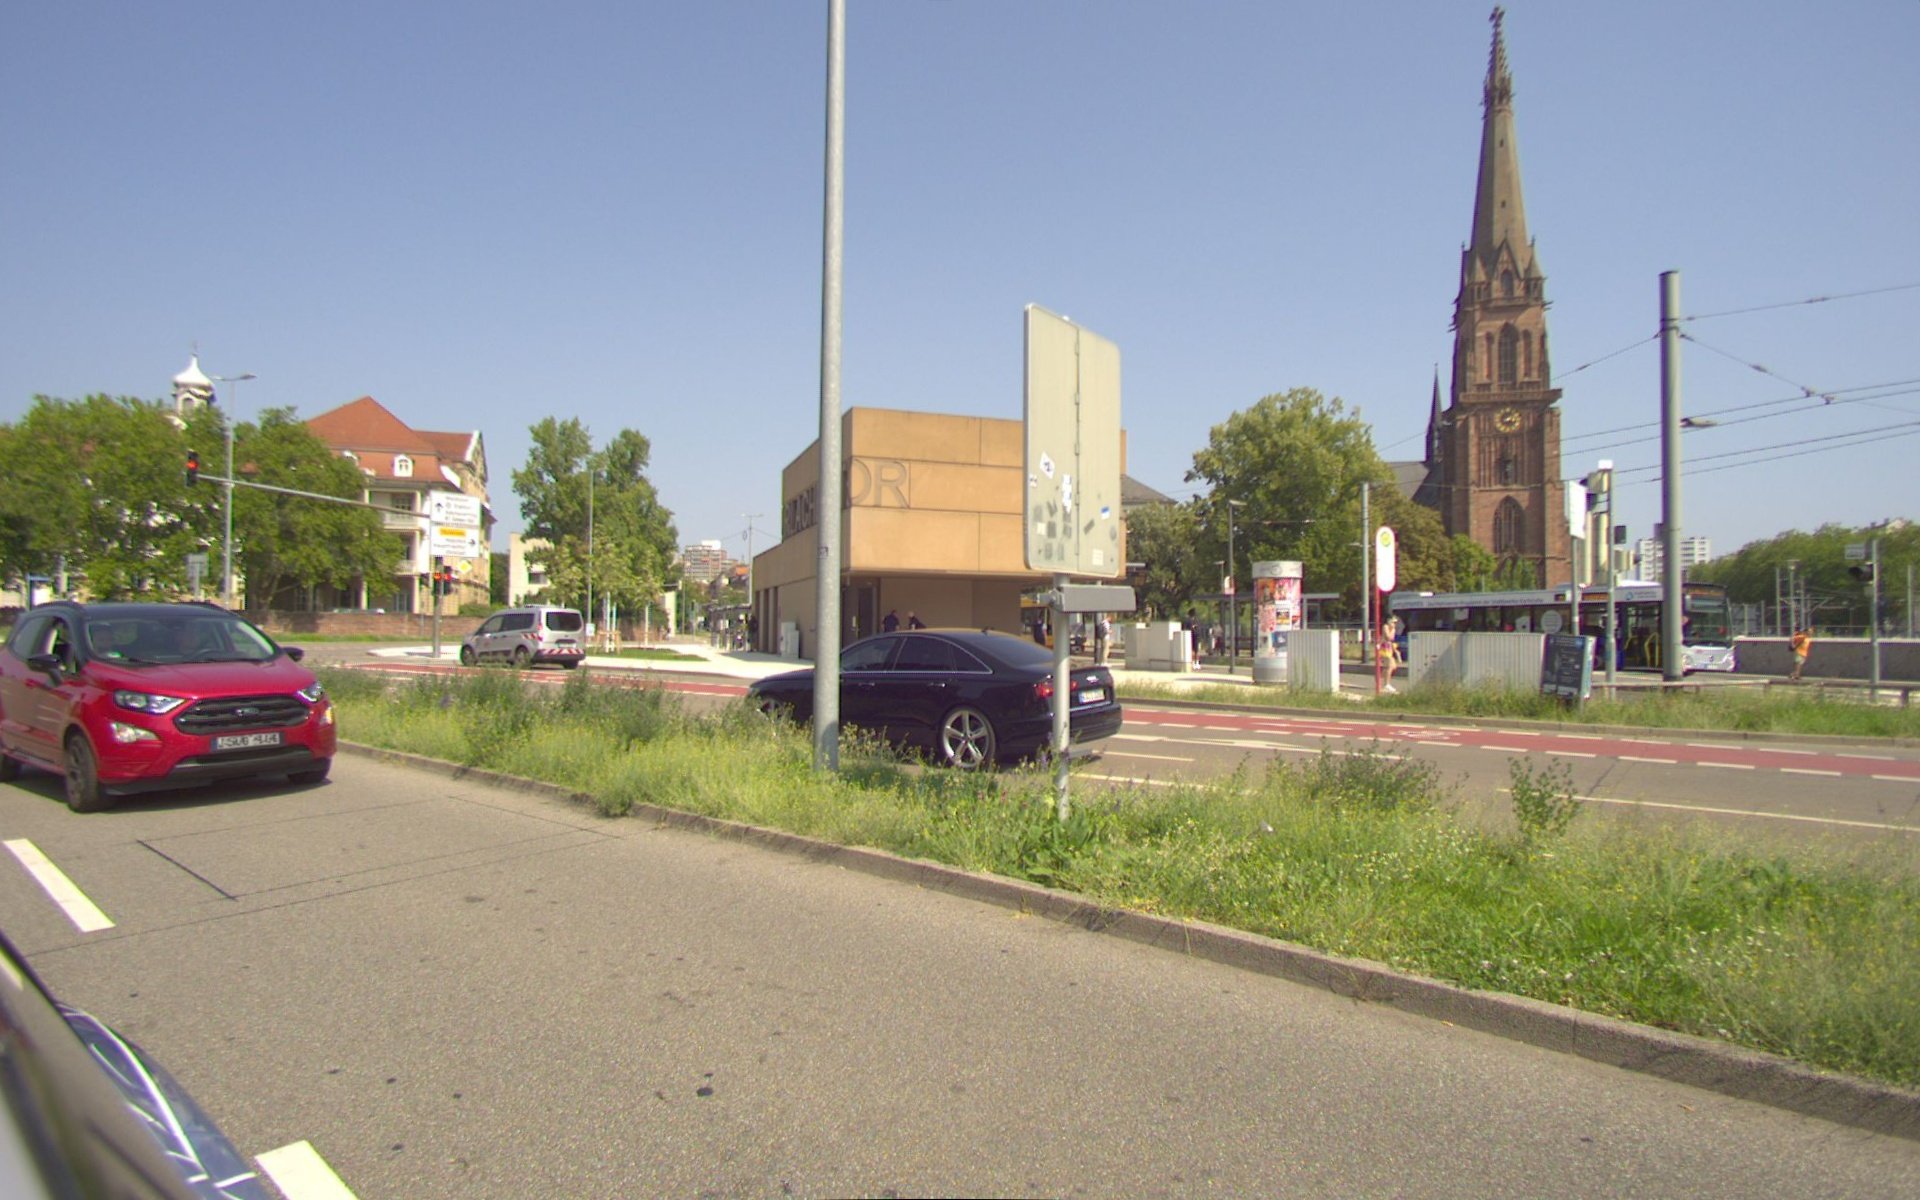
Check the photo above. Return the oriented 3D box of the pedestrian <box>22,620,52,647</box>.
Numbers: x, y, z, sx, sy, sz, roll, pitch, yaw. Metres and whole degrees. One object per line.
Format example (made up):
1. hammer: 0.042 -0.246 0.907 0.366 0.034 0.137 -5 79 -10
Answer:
1. pedestrian: -71.488 2.603 78.374 1.216 2.029 1.073 1 -3 -3

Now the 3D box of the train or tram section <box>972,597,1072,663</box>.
1. train or tram section: 3.601 1.923 61.684 3.107 3.625 8.271 3 -4 -19

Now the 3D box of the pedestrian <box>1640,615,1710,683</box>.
1. pedestrian: 20.774 1.423 29.436 1.021 1.900 1.314 2 -2 -17

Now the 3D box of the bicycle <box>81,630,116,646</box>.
1. bicycle: -46.961 2.061 55.201 0.433 0.818 1.479 0 -2 13

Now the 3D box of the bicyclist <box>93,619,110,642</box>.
1. bicyclist: -46.941 1.655 55.320 0.429 1.242 0.538 -1 -3 14

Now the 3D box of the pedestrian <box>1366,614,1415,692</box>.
1. pedestrian: 9.669 1.187 22.750 0.775 1.715 0.629 1 -2 -7

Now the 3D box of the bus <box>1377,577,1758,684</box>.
1. bus: 20.451 1.090 35.800 3.053 3.094 12.521 1 -2 -19

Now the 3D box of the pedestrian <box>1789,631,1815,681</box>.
1. pedestrian: 27.495 1.831 33.045 0.457 1.624 0.468 1 -2 -20

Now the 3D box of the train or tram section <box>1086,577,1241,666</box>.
1. train or tram section: 9.048 1.107 46.155 3.091 3.597 8.270 3 -4 -19

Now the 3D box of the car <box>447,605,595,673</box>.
1. car: -13.174 1.176 30.314 4.321 1.874 1.977 -1 -5 33

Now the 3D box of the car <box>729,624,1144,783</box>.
1. car: -0.436 1.020 11.633 4.760 1.421 1.753 -1 0 39

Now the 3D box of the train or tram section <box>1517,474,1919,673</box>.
1. train or tram section: 17.300 -0.246 22.874 3.091 3.597 8.270 3 -4 -19

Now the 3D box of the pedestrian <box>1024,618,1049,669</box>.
1. pedestrian: 2.487 1.417 33.048 0.628 1.626 0.694 1 -2 -14

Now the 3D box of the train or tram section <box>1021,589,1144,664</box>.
1. train or tram section: 6.322 1.527 53.904 3.091 3.597 8.270 3 -4 -19

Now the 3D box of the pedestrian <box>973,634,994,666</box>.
1. pedestrian: 0.786 1.681 34.067 0.531 1.092 0.502 1 -2 -20

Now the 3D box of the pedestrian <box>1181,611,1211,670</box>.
1. pedestrian: 7.134 1.220 30.581 0.685 1.776 0.553 2 -2 -33

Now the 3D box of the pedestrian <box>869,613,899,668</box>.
1. pedestrian: -2.405 1.284 32.120 0.741 1.701 0.629 0 -2 20

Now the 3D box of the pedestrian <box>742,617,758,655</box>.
1. pedestrian: -9.380 1.609 45.208 0.559 1.691 0.538 1 -3 -20

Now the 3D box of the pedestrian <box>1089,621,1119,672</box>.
1. pedestrian: 4.811 1.545 33.755 0.808 1.682 0.544 -1 -3 38

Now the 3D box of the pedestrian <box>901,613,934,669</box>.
1. pedestrian: -1.323 1.271 31.686 0.808 1.715 0.638 -1 -3 38

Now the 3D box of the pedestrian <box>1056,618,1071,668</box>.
1. pedestrian: 3.445 1.437 33.760 0.485 1.626 0.509 1 -2 4

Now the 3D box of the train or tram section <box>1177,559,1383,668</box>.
1. train or tram section: 11.798 0.694 38.392 3.091 3.597 8.270 3 -4 -19

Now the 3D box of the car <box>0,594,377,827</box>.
1. car: -7.104 0.788 8.942 3.989 1.627 1.824 -1 -1 34

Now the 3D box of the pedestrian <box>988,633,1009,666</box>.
1. pedestrian: 1.307 1.676 34.259 0.531 1.092 0.502 1 -2 -20
